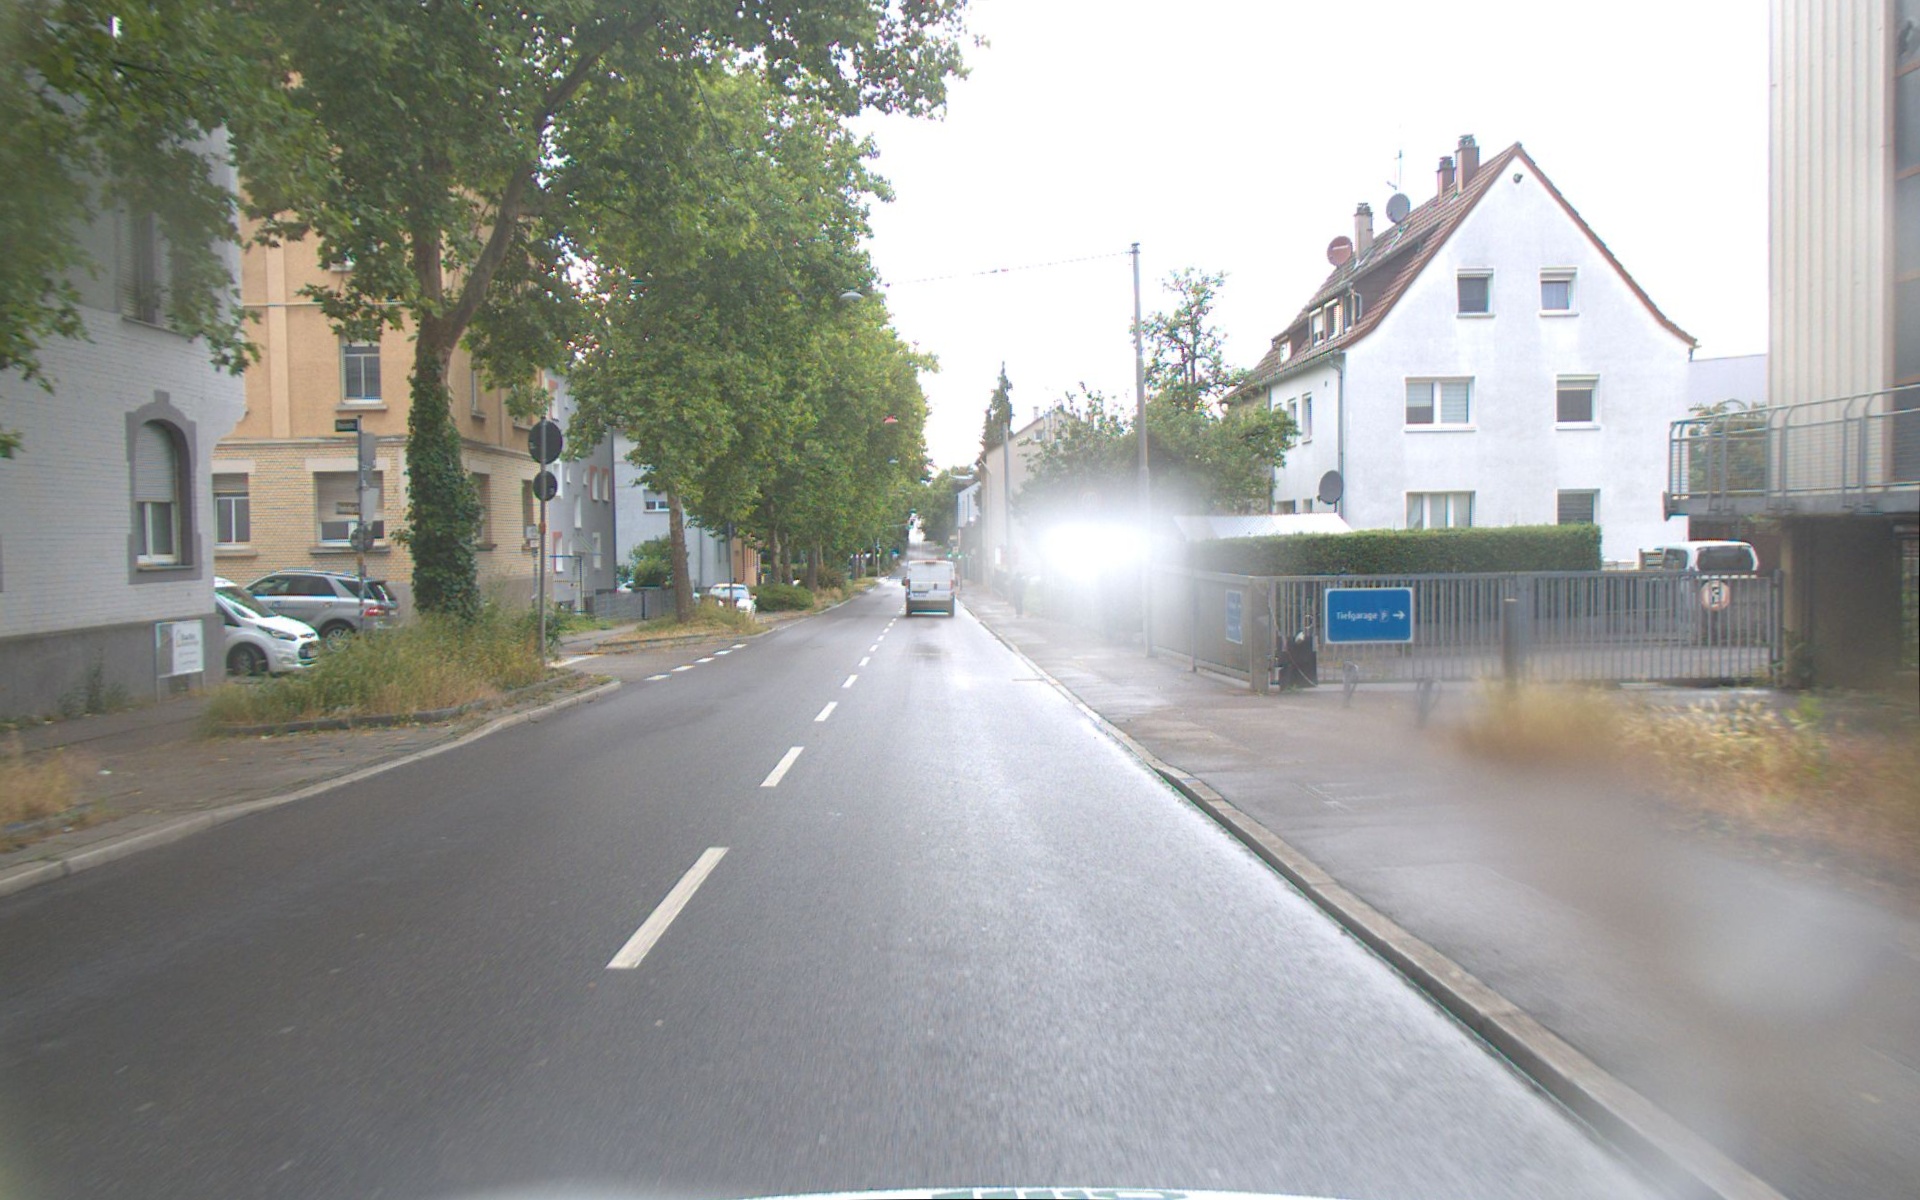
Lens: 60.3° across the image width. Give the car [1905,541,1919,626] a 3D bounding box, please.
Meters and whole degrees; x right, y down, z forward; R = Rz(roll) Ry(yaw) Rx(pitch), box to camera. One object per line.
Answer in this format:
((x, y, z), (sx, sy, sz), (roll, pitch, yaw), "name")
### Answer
((24.096, -0.402, 38.521), (1.824, 2.049, 3.999), (-1, 0, -1), "car")
